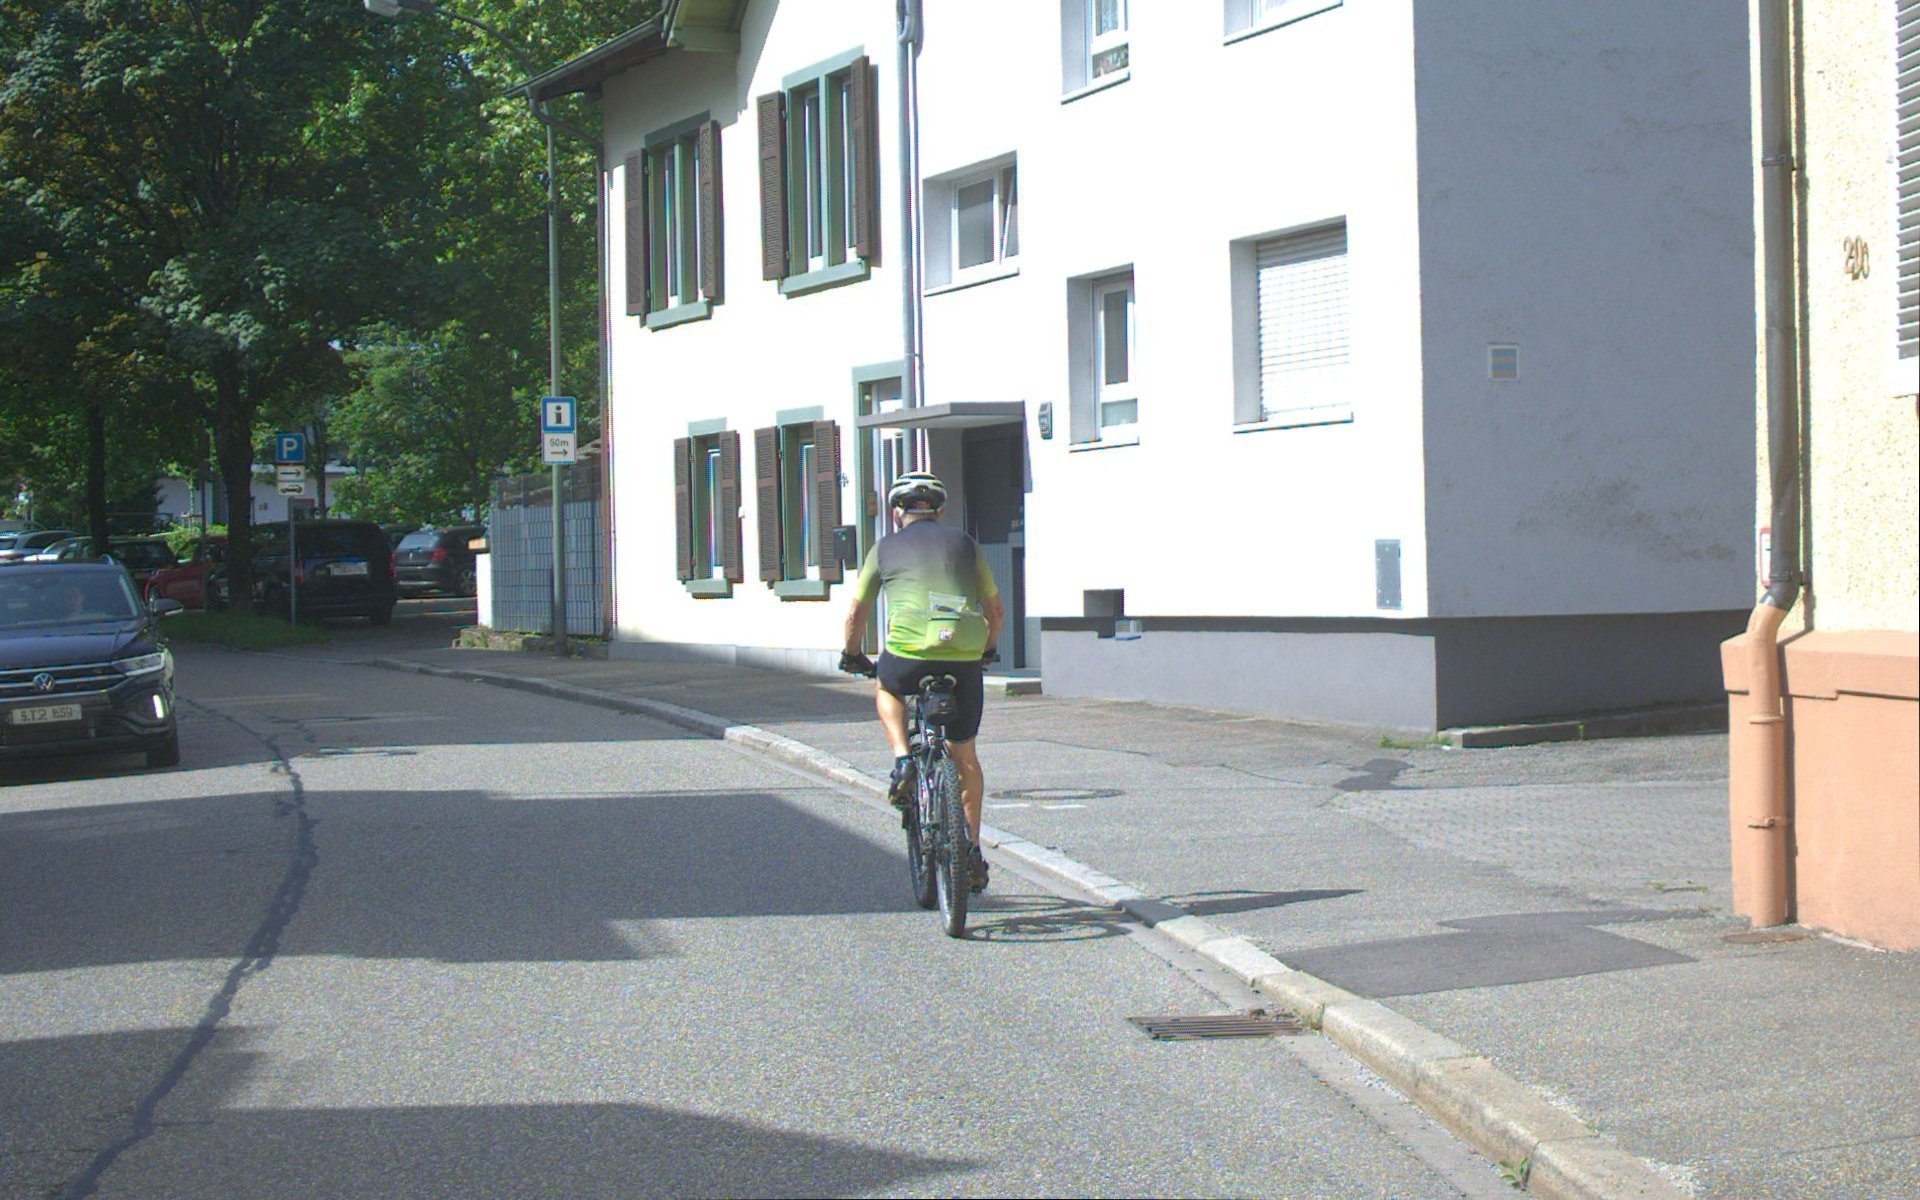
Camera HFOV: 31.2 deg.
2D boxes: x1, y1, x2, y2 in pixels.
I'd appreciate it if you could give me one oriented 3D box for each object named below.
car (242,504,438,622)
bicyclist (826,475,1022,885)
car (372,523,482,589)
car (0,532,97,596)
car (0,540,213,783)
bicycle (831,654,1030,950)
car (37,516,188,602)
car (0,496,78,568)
[{"bbox_3d":[-10.177,-0.638,56.213,1.822,1.785,4.000,-3,3,-31],"label":"car"},{"bbox_3d":[-0.149,0.297,13.324,0.685,1.526,0.716,-2,0,-3],"label":"bicyclist"},{"bbox_3d":[-10.833,-0.898,69.727,1.582,1.253,3.859,-3,2,-18],"label":"car"},{"bbox_3d":[-23.425,-0.917,86.045,1.811,1.546,3.997,-1,1,15],"label":"car"},{"bbox_3d":[-6.592,0.404,25.135,1.823,1.532,4.001,-5,2,-8],"label":"car"},{"bbox_3d":[-0.136,0.754,13.341,0.698,1.032,1.471,0,1,-3],"label":"bicycle"},{"bbox_3d":[-16.472,-0.817,66.670,1.708,1.537,4.000,-3,3,-31],"label":"car"},{"bbox_3d":[-25.434,-1.766,89.661,1.997,1.848,4.693,0,1,29],"label":"car"}]
